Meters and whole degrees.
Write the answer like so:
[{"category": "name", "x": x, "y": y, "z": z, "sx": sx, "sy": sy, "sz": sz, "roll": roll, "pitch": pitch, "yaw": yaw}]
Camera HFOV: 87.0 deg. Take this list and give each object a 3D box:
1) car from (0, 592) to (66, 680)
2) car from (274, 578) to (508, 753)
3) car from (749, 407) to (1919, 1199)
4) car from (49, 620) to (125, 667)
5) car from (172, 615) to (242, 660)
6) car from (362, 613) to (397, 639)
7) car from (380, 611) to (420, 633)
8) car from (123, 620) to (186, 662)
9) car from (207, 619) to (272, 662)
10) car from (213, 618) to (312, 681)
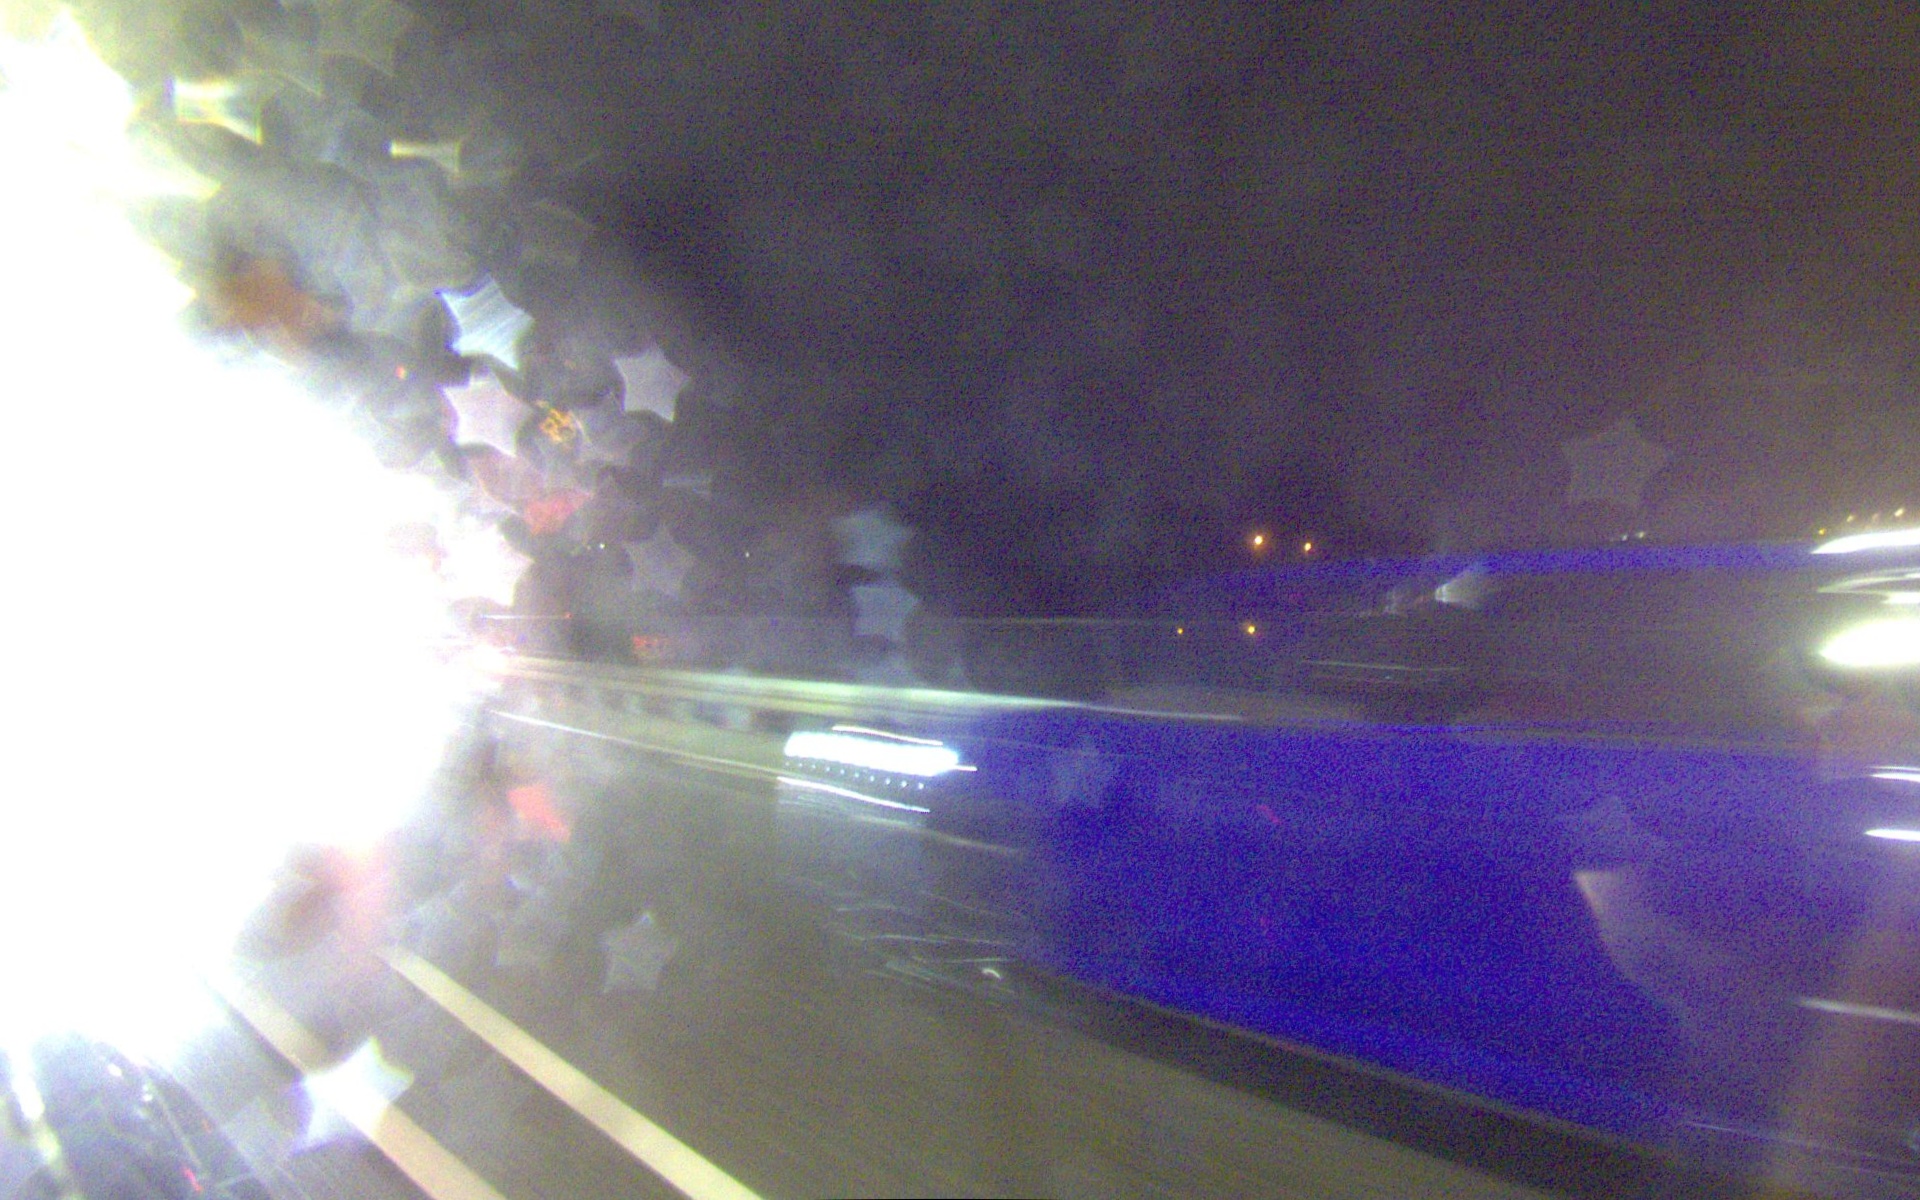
[{"category": "car", "x": -23.829, "y": 0.881, "z": 25.041, "sx": 1.966, "sy": 2.029, "sz": 4.011, "roll": -2, "pitch": 0, "yaw": -33}, {"category": "car", "x": -7.373, "y": 0.765, "z": 12.926, "sx": 1.732, "sy": 1.875, "sz": 4.005, "roll": 2, "pitch": -3, "yaw": -42}, {"category": "car", "x": 1.621, "y": 0.535, "z": 3.328, "sx": 4.980, "sy": 1.732, "sz": 2.001, "roll": -1, "pitch": -1, "yaw": 42}, {"category": "car", "x": -30.642, "y": 1.517, "z": 35.595, "sx": 1.498, "sy": 1.537, "sz": 3.116, "roll": -1, "pitch": -1, "yaw": -30}, {"category": "car", "x": -43.159, "y": 2.096, "z": 58.111, "sx": 1.966, "sy": 2.027, "sz": 4.014, "roll": -6, "pitch": 5, "yaw": -20}, {"category": "car", "x": -37.965, "y": 1.704, "z": 66.249, "sx": 1.450, "sy": 1.597, "sz": 3.201, "roll": 0, "pitch": -2, "yaw": -20}, {"category": "car", "x": -47.520, "y": 1.884, "z": 85.991, "sx": 1.971, "sy": 1.687, "sz": 4.630, "roll": -1, "pitch": -2, "yaw": -15}, {"category": "car", "x": -35.279, "y": 1.771, "z": 44.388, "sx": 1.284, "sy": 1.540, "sz": 3.056, "roll": -6, "pitch": 4, "yaw": -24}, {"category": "car", "x": -27.647, "y": 1.512, "z": 38.785, "sx": 1.661, "sy": 1.401, "sz": 4.458, "roll": -2, "pitch": 1, "yaw": -40}, {"category": "car", "x": -17.438, "y": 1.191, "z": 25.239, "sx": 1.791, "sy": 1.415, "sz": 4.056, "roll": 1, "pitch": -2, "yaw": -38}]
